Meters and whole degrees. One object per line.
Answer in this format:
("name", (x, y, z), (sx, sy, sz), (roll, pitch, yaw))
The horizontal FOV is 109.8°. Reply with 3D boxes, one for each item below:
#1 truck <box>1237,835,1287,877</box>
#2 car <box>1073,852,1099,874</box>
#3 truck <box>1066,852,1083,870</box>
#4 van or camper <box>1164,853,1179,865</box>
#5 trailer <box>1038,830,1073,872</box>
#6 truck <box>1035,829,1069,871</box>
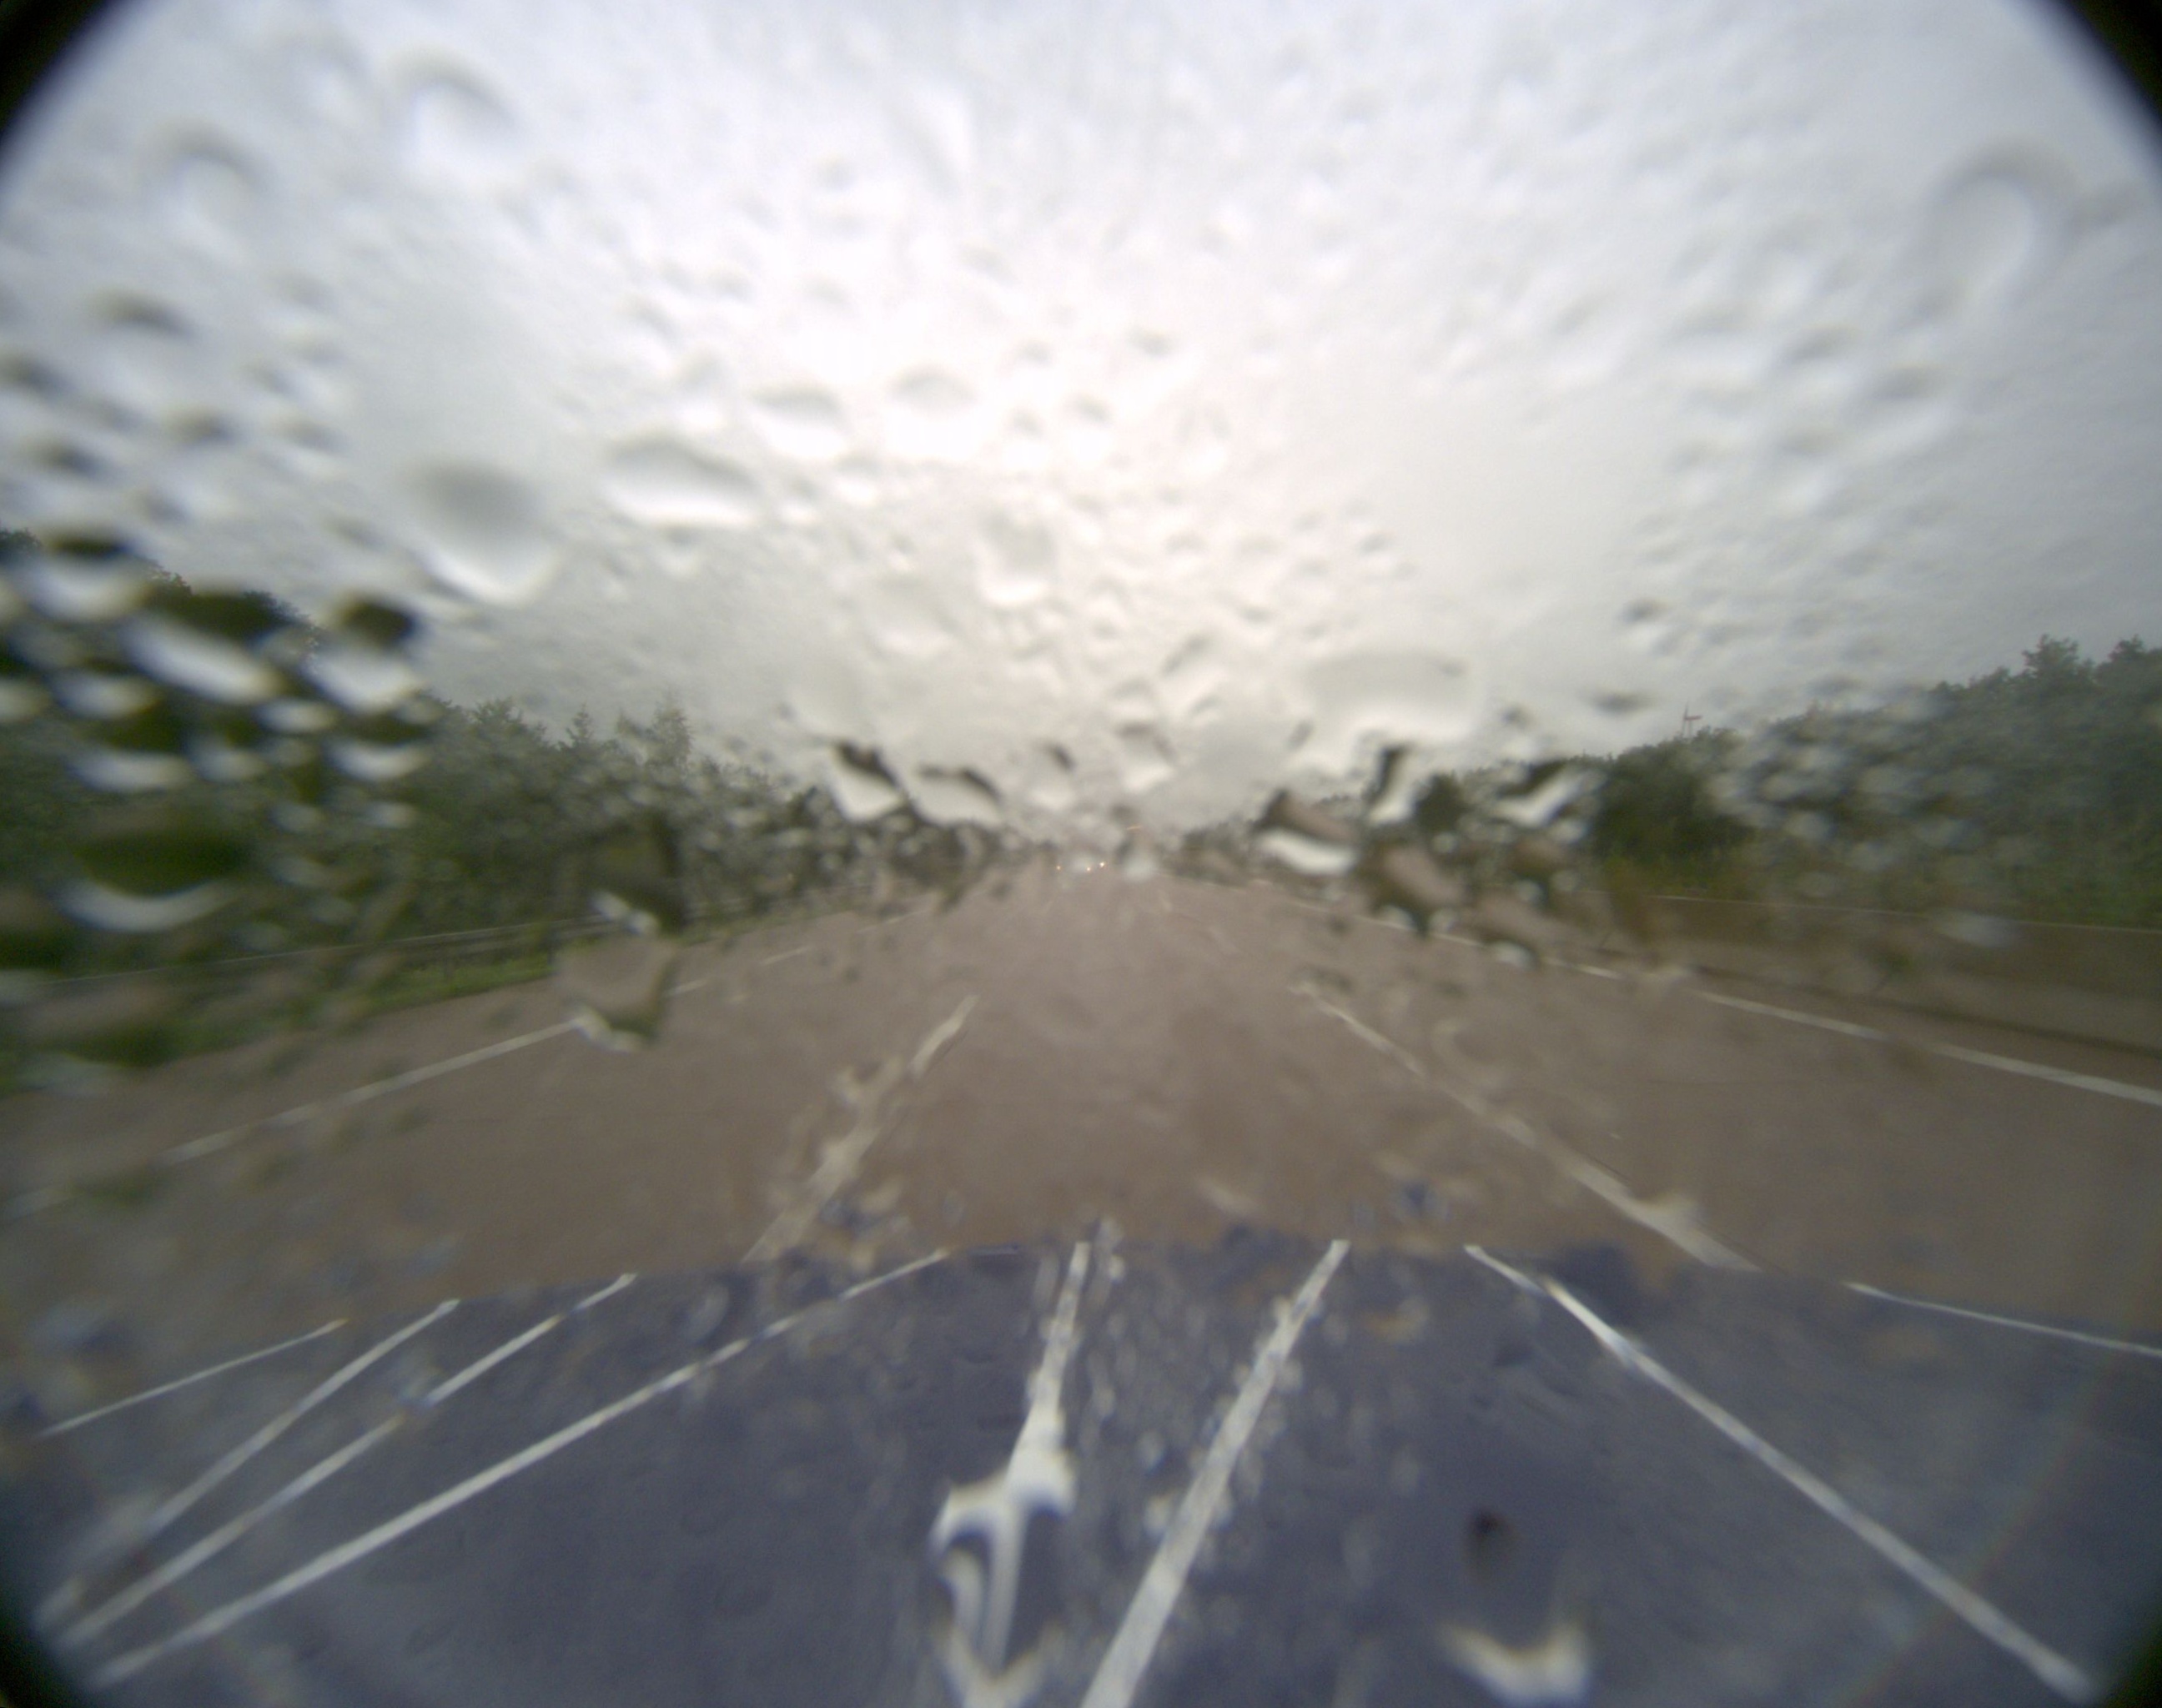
("truck", (21.035, 0.194, 88.997), (3.154, 4.446, 9.556), (-3, 0, -1))
("car", (0.451, 0.698, 63.193), (1.812, 1.718, 4.744), (-2, 0, 3))
("truck", (-1.308, 1.501, 164.345), (3.242, 3.707, 7.956), (-2, -1, 1))
("van or camper", (18.994, 1.041, 159.497), (2.135, 2.192, 5.721), (-4, 0, -1))
("trailer", (-2.642, -0.181, 83.380), (2.859, 4.205, 13.136), (0, -1, 2))
("truck", (-2.869, -0.330, 77.168), (2.887, 4.081, 6.352), (0, -1, 2))
